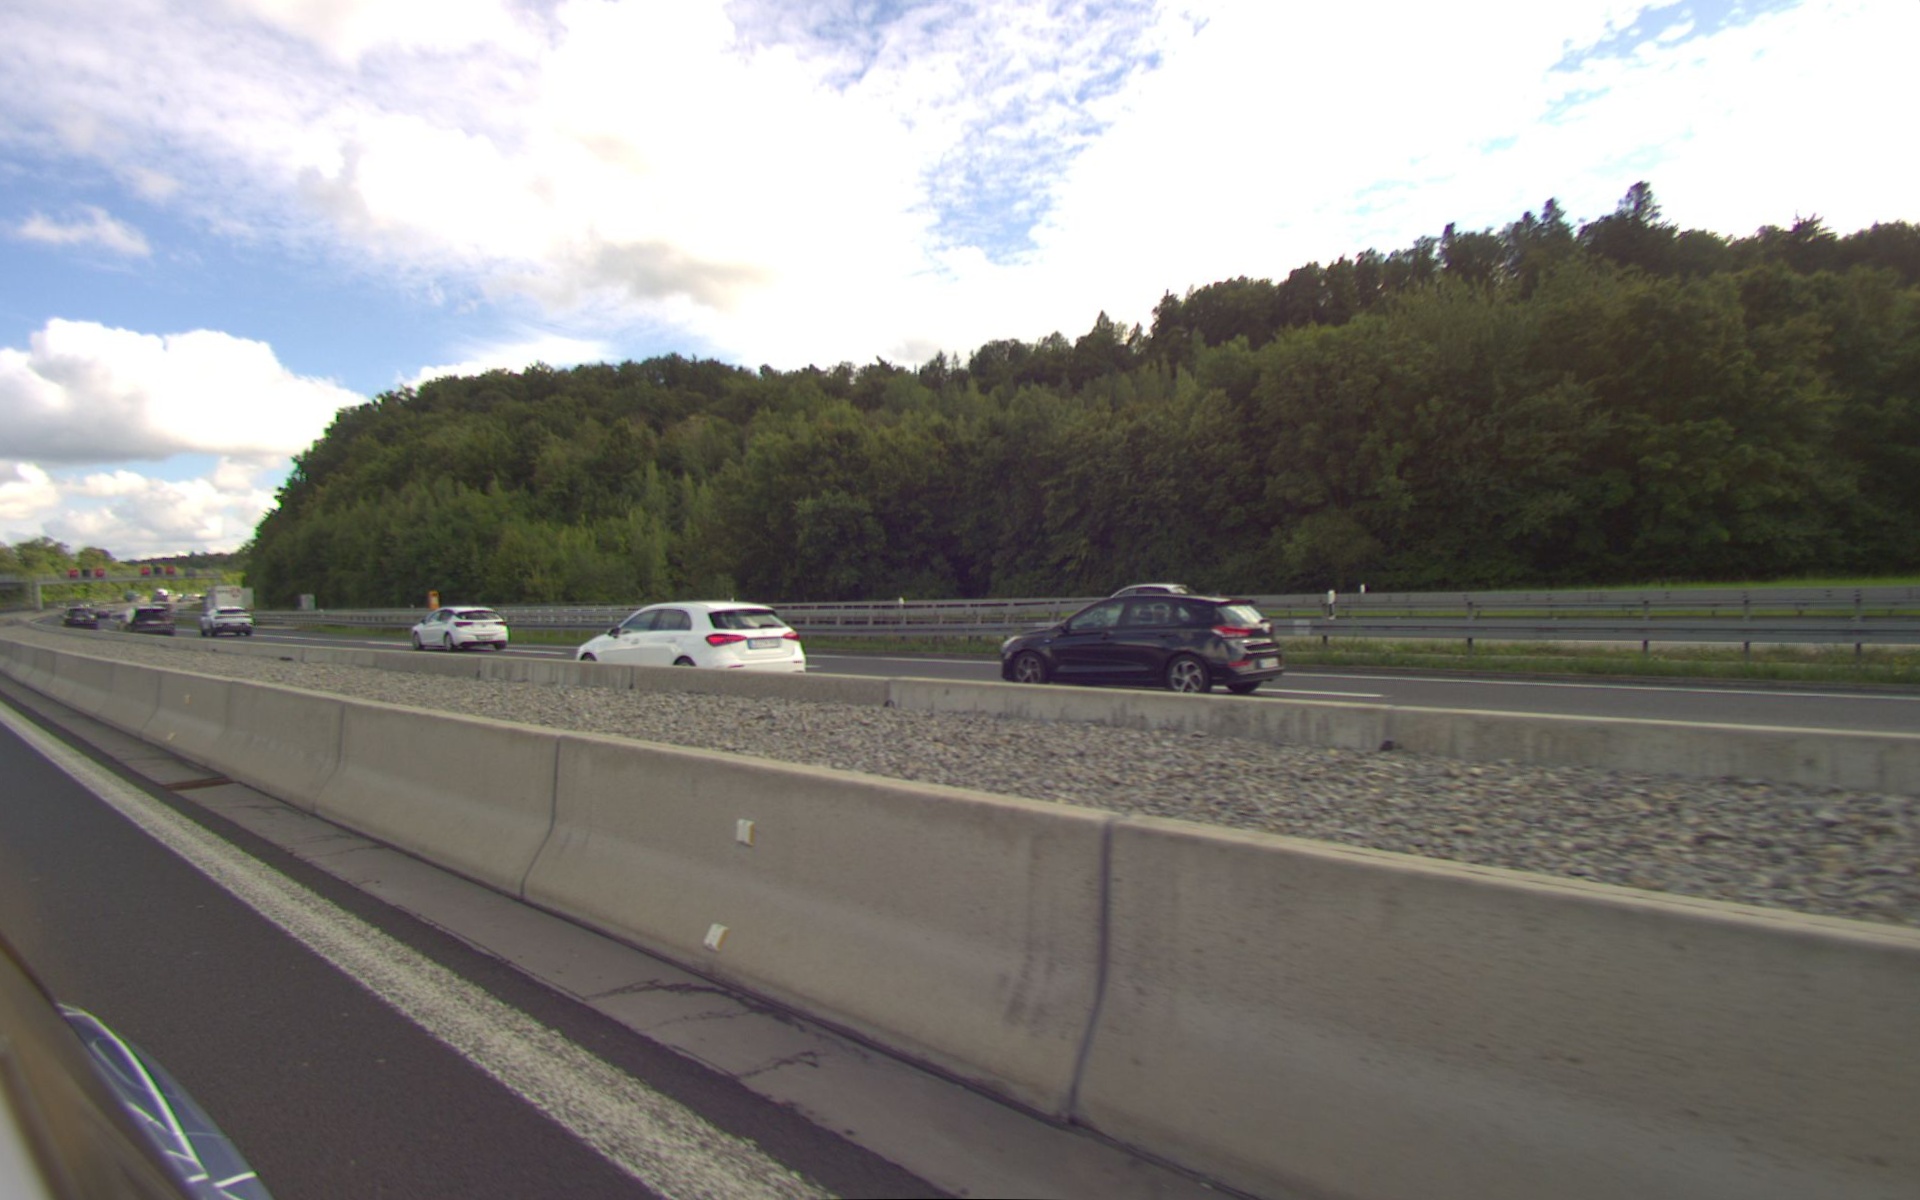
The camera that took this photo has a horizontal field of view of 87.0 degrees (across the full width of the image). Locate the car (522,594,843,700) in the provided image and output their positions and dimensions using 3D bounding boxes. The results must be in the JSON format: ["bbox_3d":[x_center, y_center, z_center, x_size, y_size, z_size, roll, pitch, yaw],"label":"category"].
[{"bbox_3d":[-4.439,0.641,15.549,5.606,1.347,2.024,-1,0,42],"label":"car"}]

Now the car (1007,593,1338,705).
[{"bbox_3d":[2.897,0.622,14.342,4.227,1.347,1.849,-1,0,42],"label":"car"}]

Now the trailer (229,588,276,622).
[{"bbox_3d":[-94.574,0.556,135.096,3.282,4.324,12.151,-1,1,-44],"label":"trailer"}]

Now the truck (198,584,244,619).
[{"bbox_3d":[-88.649,0.063,121.286,2.869,3.998,10.471,-1,1,-45],"label":"truck"}]

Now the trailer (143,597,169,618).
[{"bbox_3d":[-150.657,1.365,189.523,2.780,3.835,12.200,-1,0,-43],"label":"trailer"}]

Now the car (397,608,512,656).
[{"bbox_3d":[-16.736,1.022,33.423,4.577,1.440,1.866,-1,0,42],"label":"car"}]

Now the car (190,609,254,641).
[{"bbox_3d":[-40.768,1.366,55.848,4.965,1.622,1.866,-1,0,42],"label":"car"}]

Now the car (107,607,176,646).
[{"bbox_3d":[-39.886,1.267,49.268,4.952,1.798,1.866,-1,0,42],"label":"car"}]

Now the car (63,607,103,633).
[{"bbox_3d":[-60.828,1.349,70.197,1.864,1.716,4.971,-1,0,-43],"label":"car"}]

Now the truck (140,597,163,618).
[{"bbox_3d":[-155.394,1.432,194.536,2.777,3.855,7.135,-2,0,-44],"label":"truck"}]

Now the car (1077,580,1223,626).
[{"bbox_3d":[6.420,0.111,34.532,4.619,1.442,1.765,-1,0,39],"label":"car"}]
